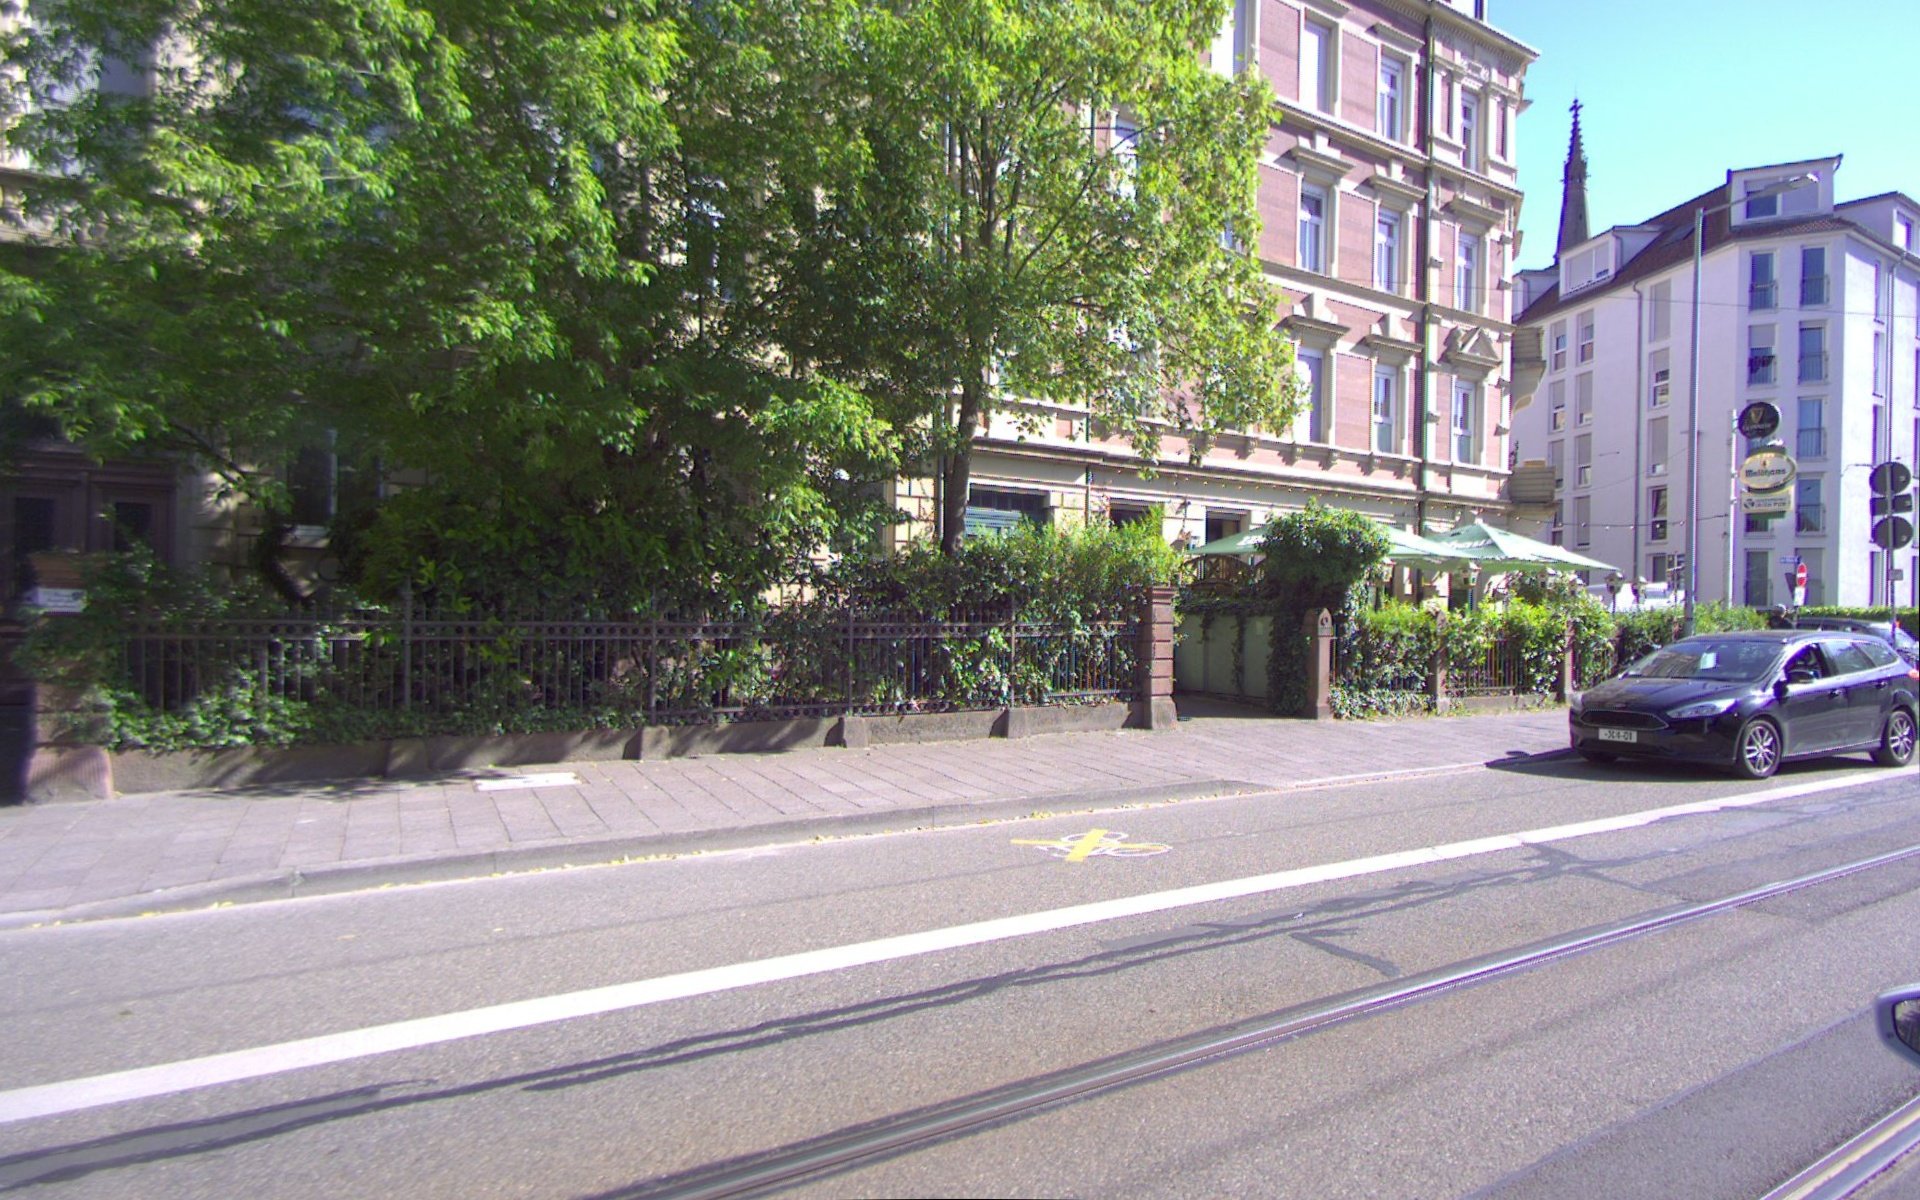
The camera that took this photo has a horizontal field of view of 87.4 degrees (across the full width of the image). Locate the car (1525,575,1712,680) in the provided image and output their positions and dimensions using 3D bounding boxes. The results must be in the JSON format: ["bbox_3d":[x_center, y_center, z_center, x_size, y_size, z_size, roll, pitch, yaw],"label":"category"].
[{"bbox_3d":[19.513,0.837,29.810,4.702,2.878,1.888,2,-1,-14],"label":"car"}]

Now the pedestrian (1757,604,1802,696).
[{"bbox_3d":[16.504,0.997,20.241,0.533,1.805,0.553,1,0,-33],"label":"pedestrian"}]

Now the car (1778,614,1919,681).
[{"bbox_3d":[26.682,1.363,29.430,1.759,1.831,4.048,2,-1,-9],"label":"car"}]

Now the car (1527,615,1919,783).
[{"bbox_3d":[8.811,1.010,11.358,4.525,1.597,1.860,1,-2,-24],"label":"car"}]

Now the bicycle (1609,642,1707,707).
[{"bbox_3d":[12.091,1.257,17.372,2.197,1.052,0.511,1,0,-30],"label":"bicycle"}]

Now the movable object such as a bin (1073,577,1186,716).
[{"bbox_3d":[2.273,0.602,13.618,1.024,1.754,1.285,1,2,-14],"label":"movable object such as a bin"}]
